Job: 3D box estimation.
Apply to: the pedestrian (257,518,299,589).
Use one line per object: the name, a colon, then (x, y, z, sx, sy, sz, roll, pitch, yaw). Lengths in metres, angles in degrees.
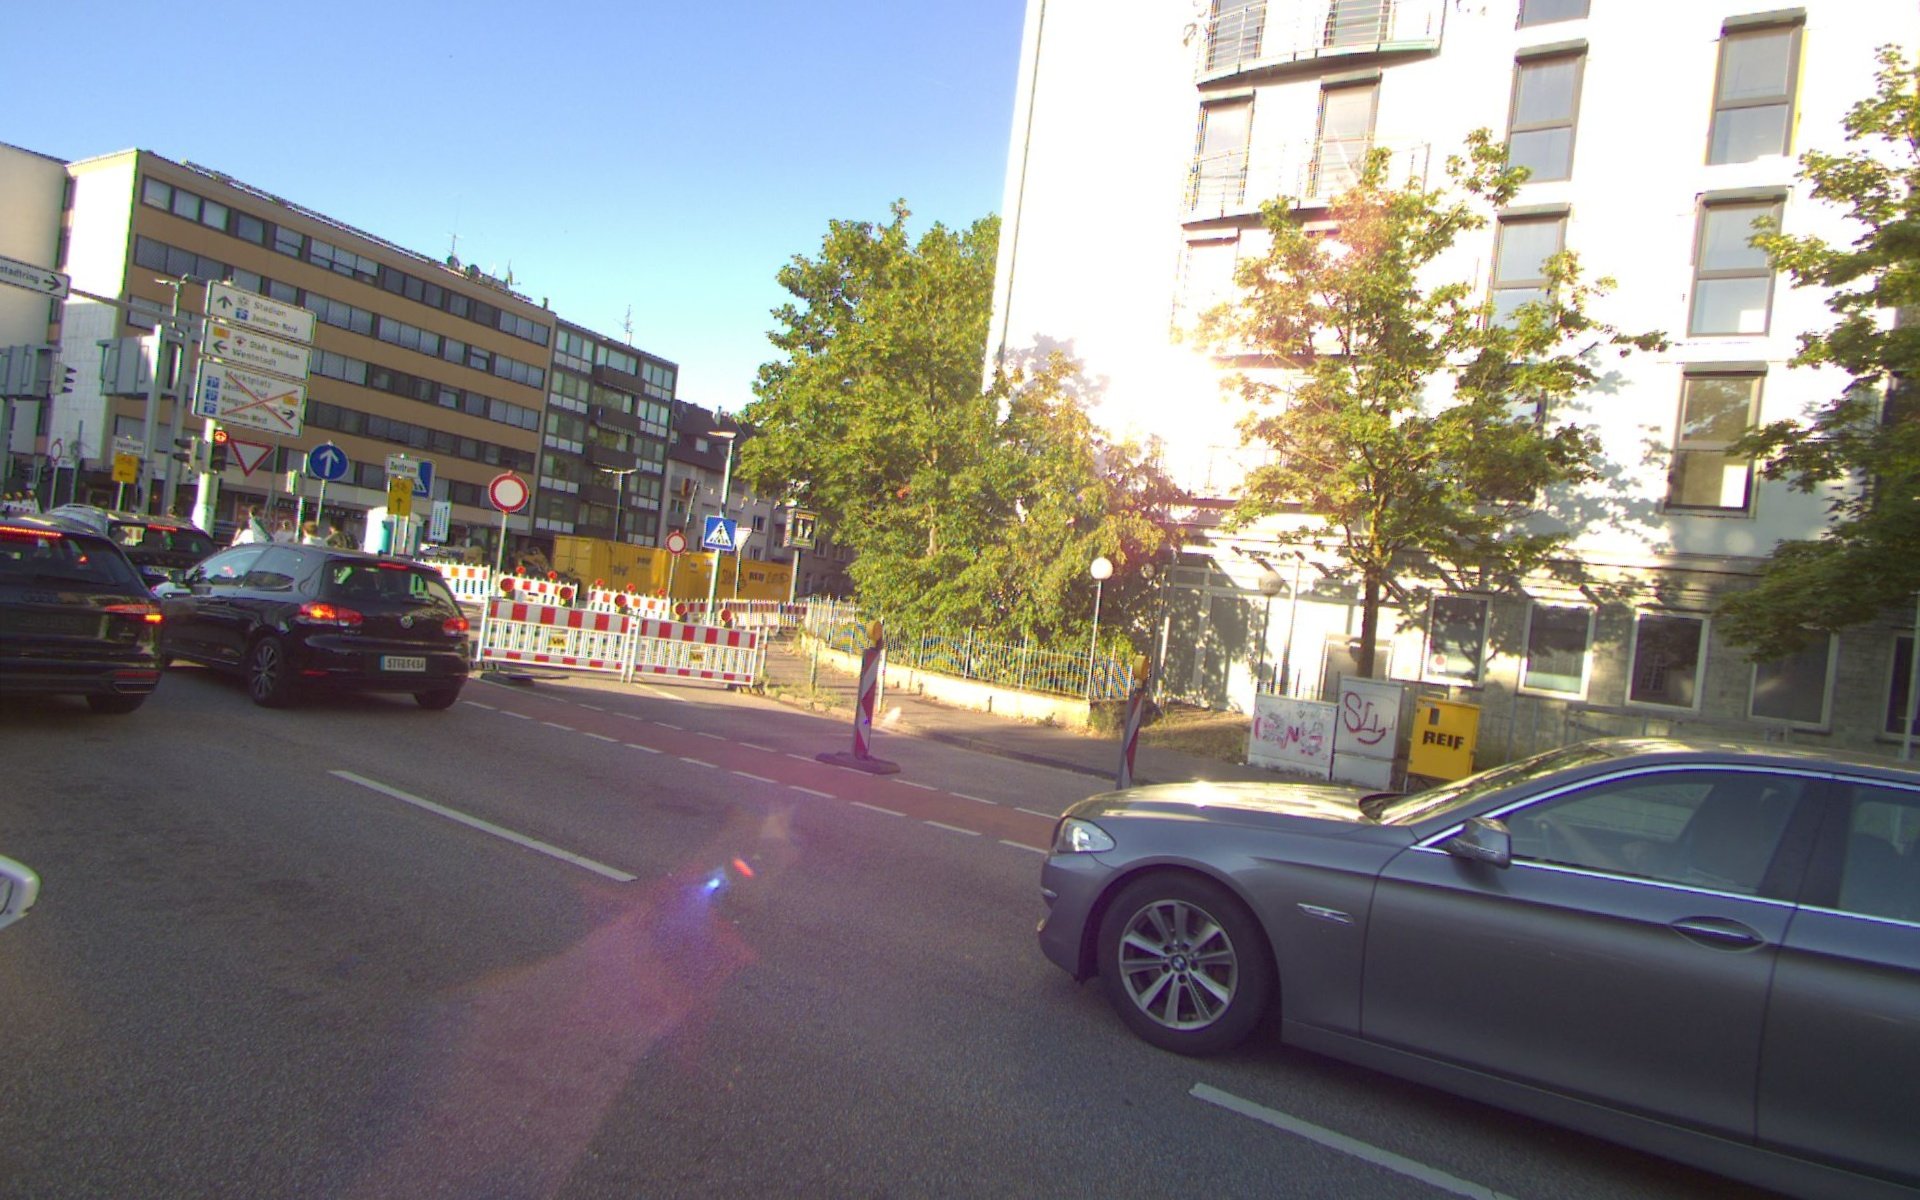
pedestrian: (-17.156, -1.174, 25.308, 0.447, 1.691, 0.602, 7, 0, 34)

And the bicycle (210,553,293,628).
bicycle: (-11.483, -0.169, 16.282, 1.825, 1.020, 0.337, 7, 0, 32)

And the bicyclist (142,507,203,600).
bicyclist: (-13.957, -0.818, 17.825, 0.713, 1.544, 0.514, 7, 0, 32)

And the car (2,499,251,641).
car: (-11.117, -0.413, 13.384, 3.250, 1.467, 1.507, 7, 0, 32)

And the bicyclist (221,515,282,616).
bicyclist: (-11.502, -0.563, 16.327, 0.713, 1.544, 0.441, 7, 0, 32)

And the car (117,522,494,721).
car: (-6.610, 0.187, 10.085, 3.683, 1.466, 1.637, 7, -2, 32)

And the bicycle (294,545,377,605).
bicycle: (-14.700, -0.588, 23.697, 1.480, 1.174, 0.372, 9, -1, -21)

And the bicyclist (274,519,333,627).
bicyclist: (-9.810, -0.399, 15.038, 0.474, 1.544, 0.441, 7, 0, 31)

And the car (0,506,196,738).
car: (-7.664, -0.041, 7.466, 4.144, 1.437, 1.685, 7, -2, 32)

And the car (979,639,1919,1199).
car: (2.585, 1.206, 3.784, 4.587, 1.466, 1.819, 7, -1, 29)

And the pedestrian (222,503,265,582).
pedestrian: (-17.649, -1.423, 24.792, 0.480, 1.857, 0.570, 7, 0, 34)

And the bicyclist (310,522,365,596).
bicyclist: (-14.649, -0.953, 23.704, 0.803, 1.608, 0.617, 8, 0, -21)
